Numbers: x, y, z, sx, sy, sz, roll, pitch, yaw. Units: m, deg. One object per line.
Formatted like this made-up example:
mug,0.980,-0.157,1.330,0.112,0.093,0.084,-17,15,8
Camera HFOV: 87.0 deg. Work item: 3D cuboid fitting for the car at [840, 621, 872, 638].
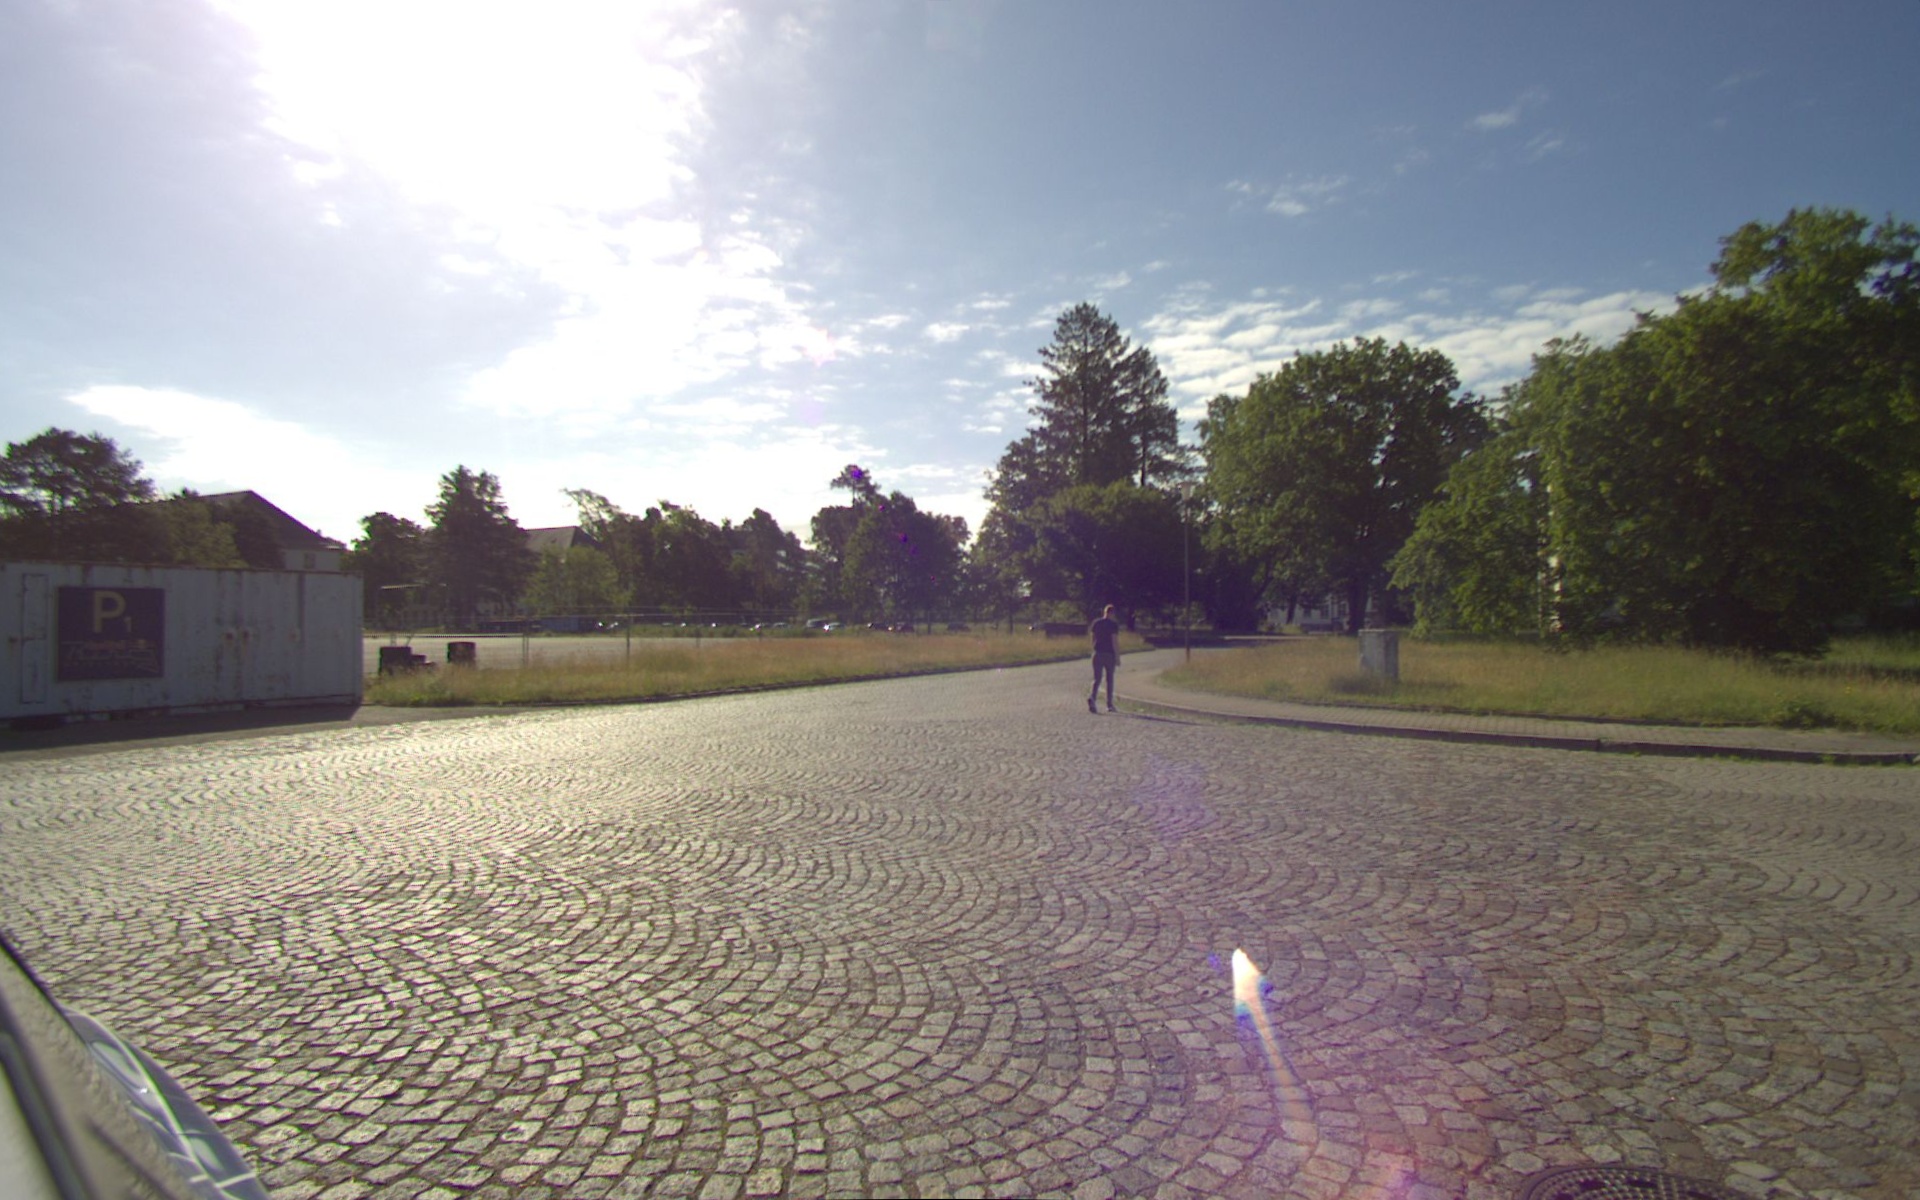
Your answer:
car,-12.488,3.548,121.797,1.989,2.029,3.965,-1,-2,26

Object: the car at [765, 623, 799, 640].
car,-22.055,3.897,125.322,1.994,2.029,3.955,-5,-3,33

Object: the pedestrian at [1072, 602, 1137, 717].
pedestrian,2.538,1.011,17.722,0.796,1.929,1.132,-1,-2,27

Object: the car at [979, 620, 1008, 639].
car,3.746,3.292,112.389,1.988,2.029,3.968,-1,-2,24

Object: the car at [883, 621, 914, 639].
car,-7.117,3.438,117.616,1.988,2.029,3.966,-1,-2,25

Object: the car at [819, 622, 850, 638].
car,-15.112,3.608,121.868,1.988,1.962,3.968,-1,-1,24

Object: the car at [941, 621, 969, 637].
car,-0.534,3.269,114.155,1.985,1.829,3.974,-1,-1,20

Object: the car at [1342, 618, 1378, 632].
car,60.057,3.732,152.088,4.849,2.111,1.982,-1,-2,27

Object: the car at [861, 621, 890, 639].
car,-9.872,3.498,118.672,1.983,2.029,3.976,-1,-1,18
